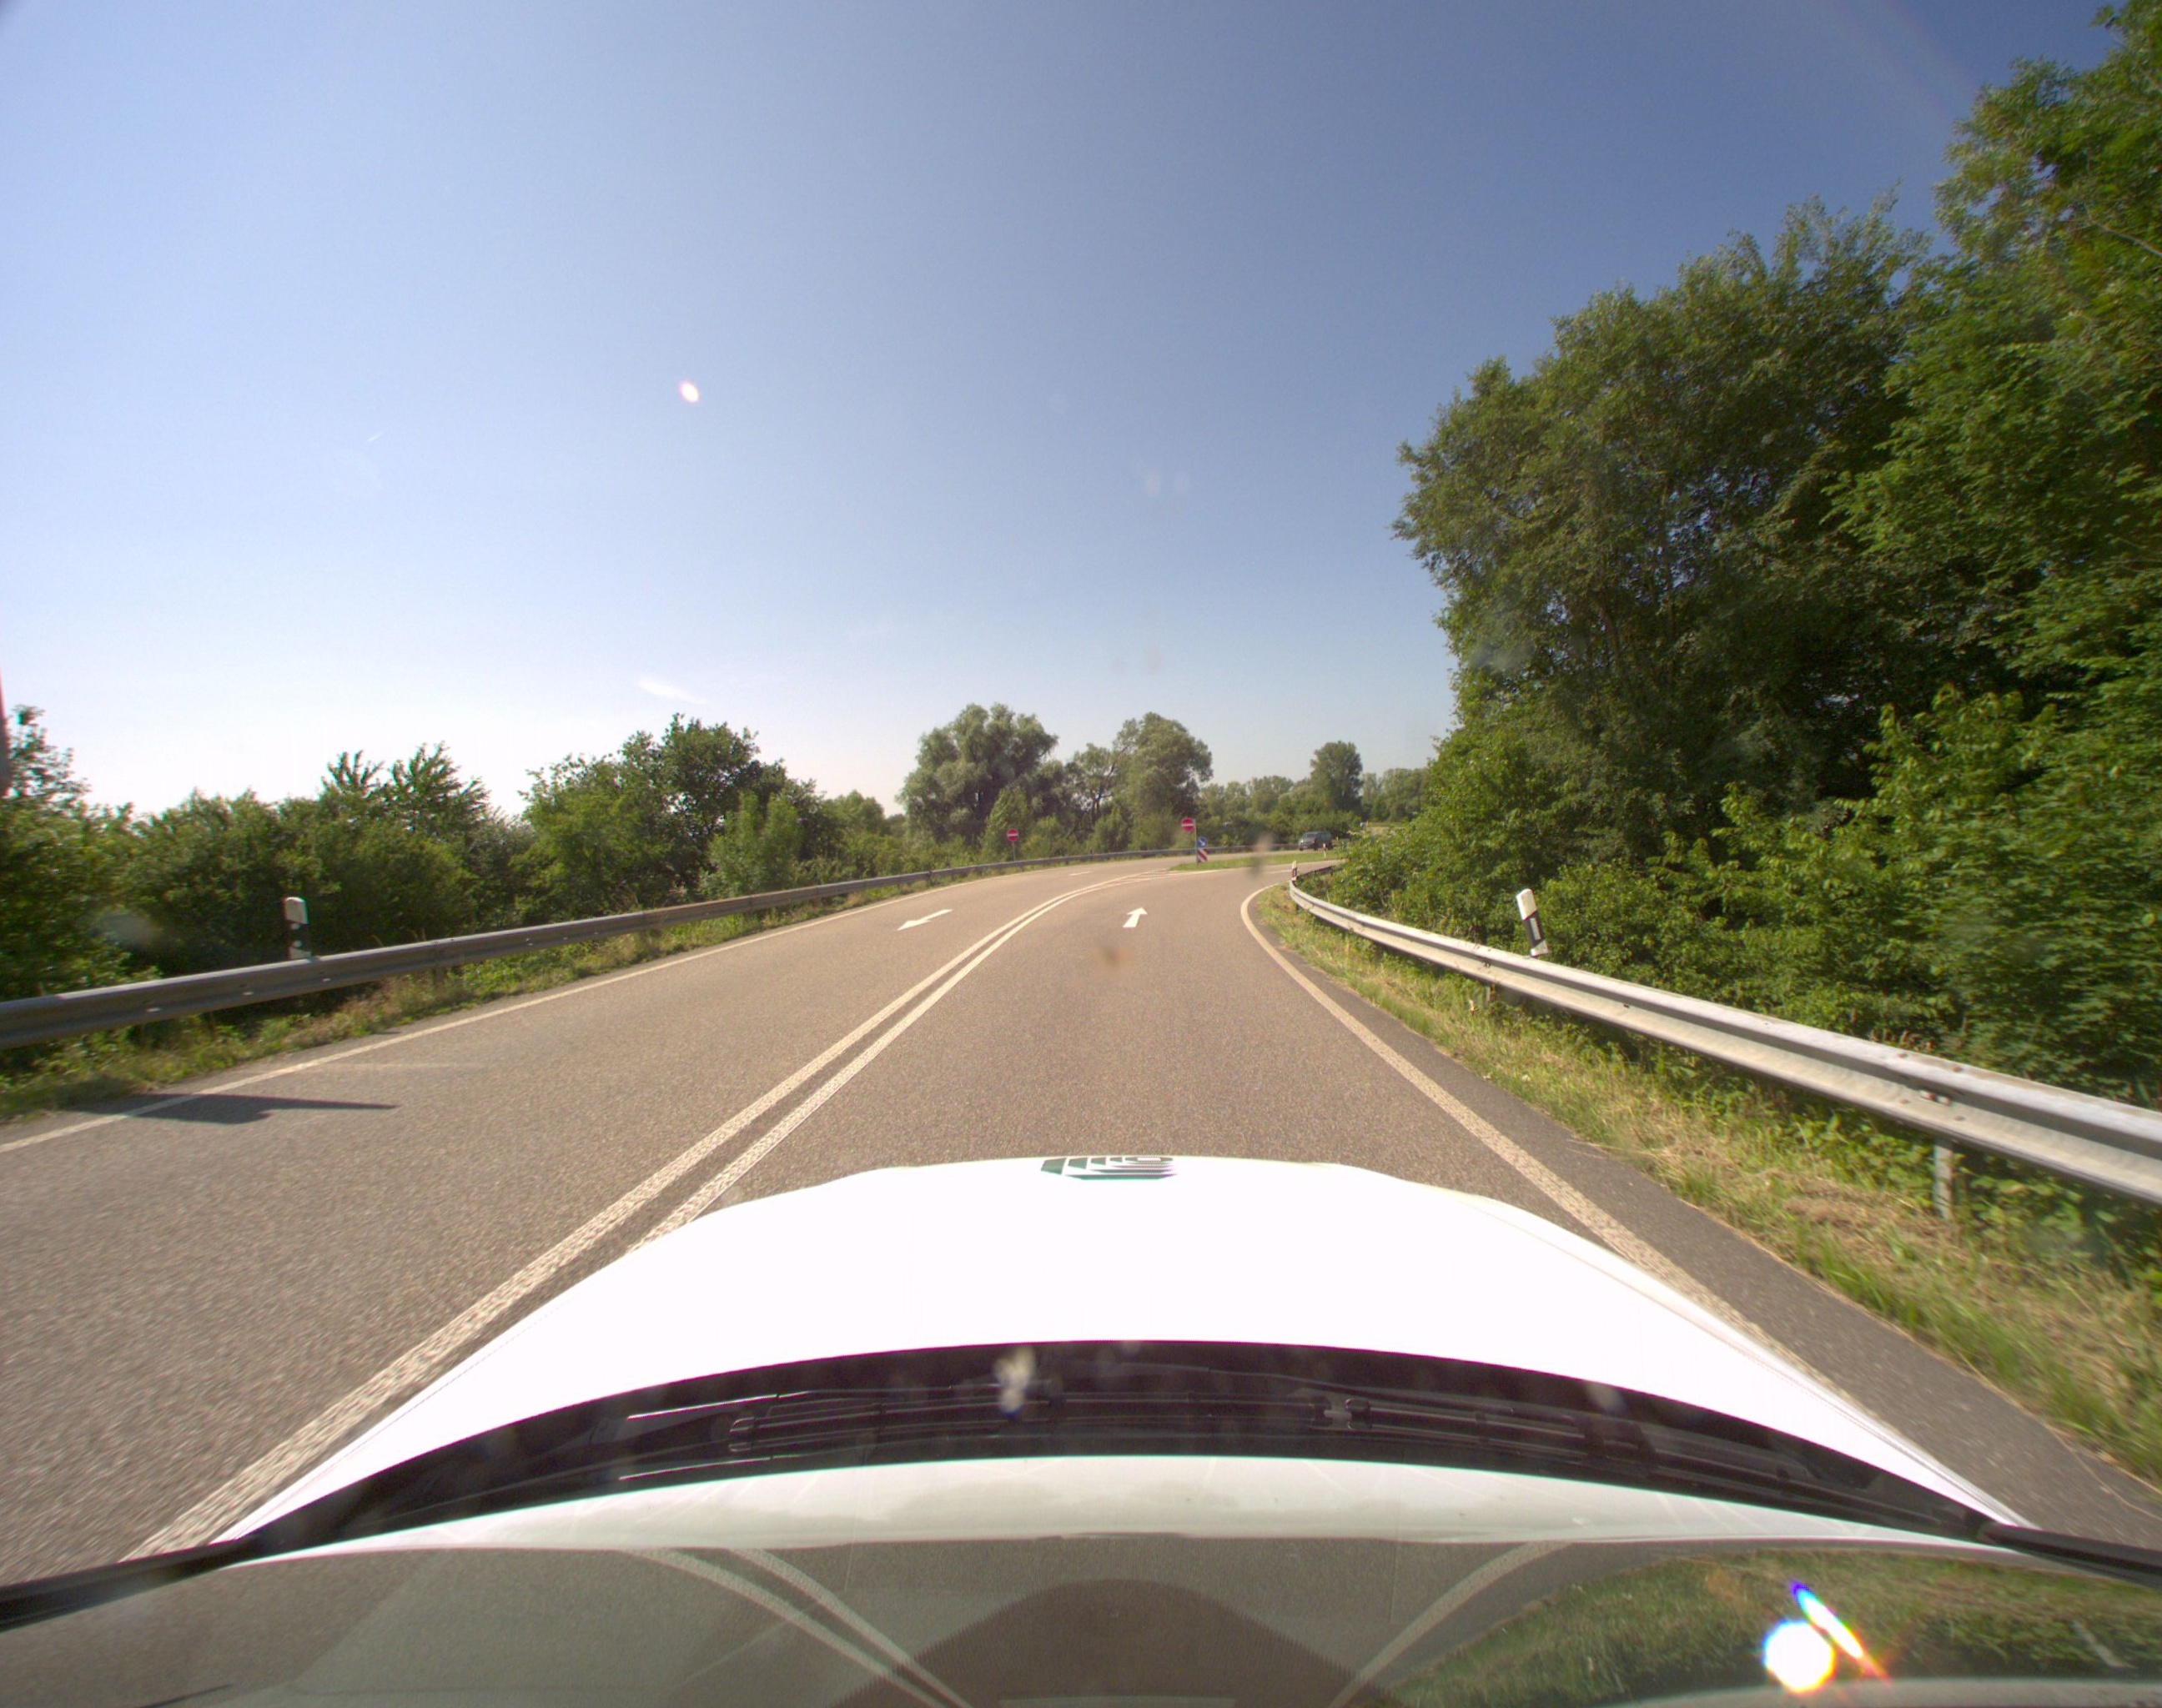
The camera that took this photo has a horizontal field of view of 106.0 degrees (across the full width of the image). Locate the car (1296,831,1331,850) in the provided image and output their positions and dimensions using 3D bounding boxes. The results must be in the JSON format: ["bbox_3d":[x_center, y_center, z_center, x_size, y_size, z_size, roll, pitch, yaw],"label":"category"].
[{"bbox_3d":[24.576,-1.444,86.046,1.880,1.880,4.025,2,5,44],"label":"car"}]
